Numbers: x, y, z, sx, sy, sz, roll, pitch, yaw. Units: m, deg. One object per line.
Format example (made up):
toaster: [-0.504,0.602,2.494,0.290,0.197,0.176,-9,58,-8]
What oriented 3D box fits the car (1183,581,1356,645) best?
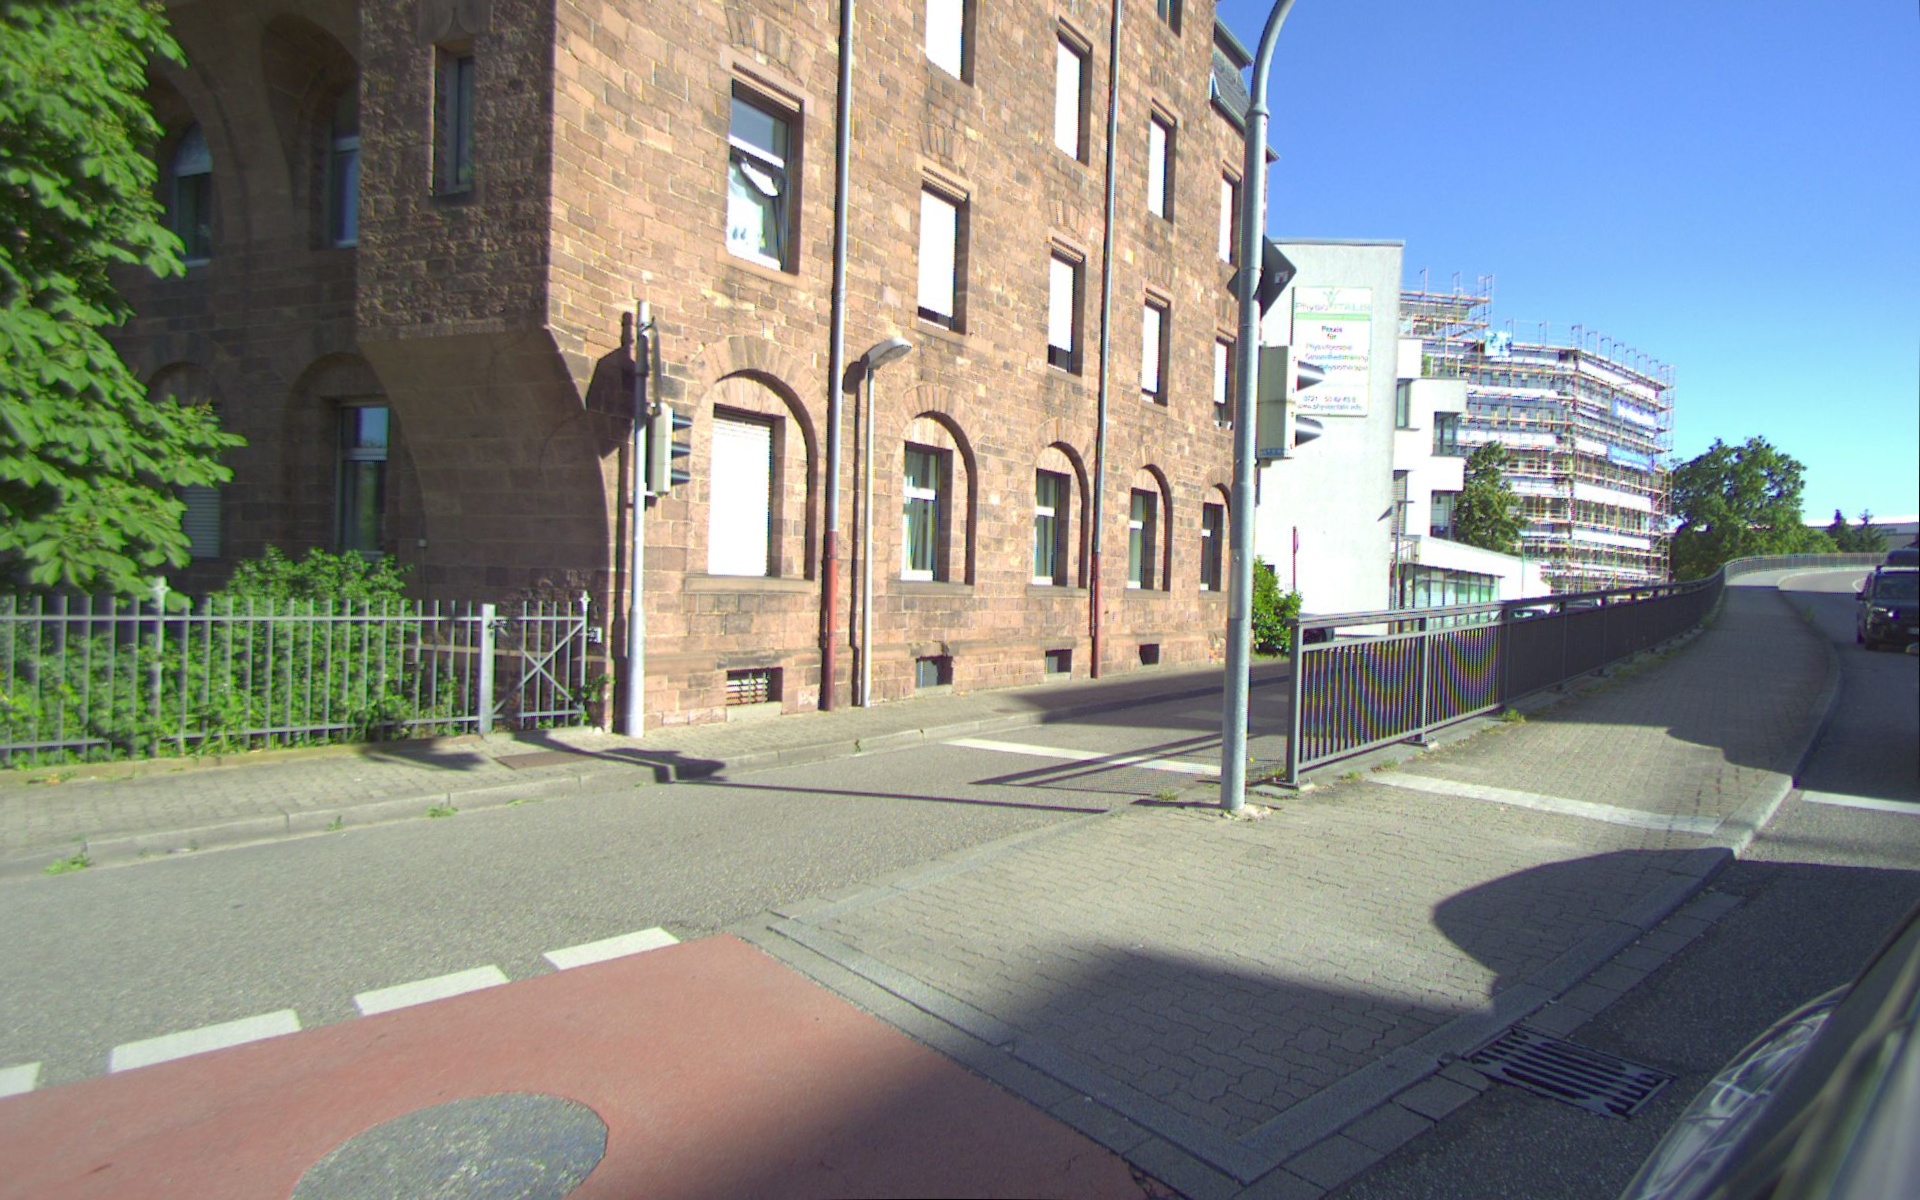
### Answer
car: [9.096,0.368,30.063,4.562,1.789,1.828,0,2,2]

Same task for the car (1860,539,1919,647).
car: [22.064,-0.247,23.093,1.901,2.240,4.539,1,4,37]

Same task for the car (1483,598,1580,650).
car: [19.119,0.744,33.766,1.844,1.448,4.611,1,3,42]

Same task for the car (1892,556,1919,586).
car: [52.343,-1.540,55.155,1.816,1.522,4.390,3,2,37]

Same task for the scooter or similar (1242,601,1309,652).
scooter or similar: [7.905,0.653,25.379,1.453,1.234,0.775,-1,-1,35]

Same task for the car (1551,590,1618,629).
car: [27.586,0.395,44.655,1.843,1.554,3.940,3,2,41]
